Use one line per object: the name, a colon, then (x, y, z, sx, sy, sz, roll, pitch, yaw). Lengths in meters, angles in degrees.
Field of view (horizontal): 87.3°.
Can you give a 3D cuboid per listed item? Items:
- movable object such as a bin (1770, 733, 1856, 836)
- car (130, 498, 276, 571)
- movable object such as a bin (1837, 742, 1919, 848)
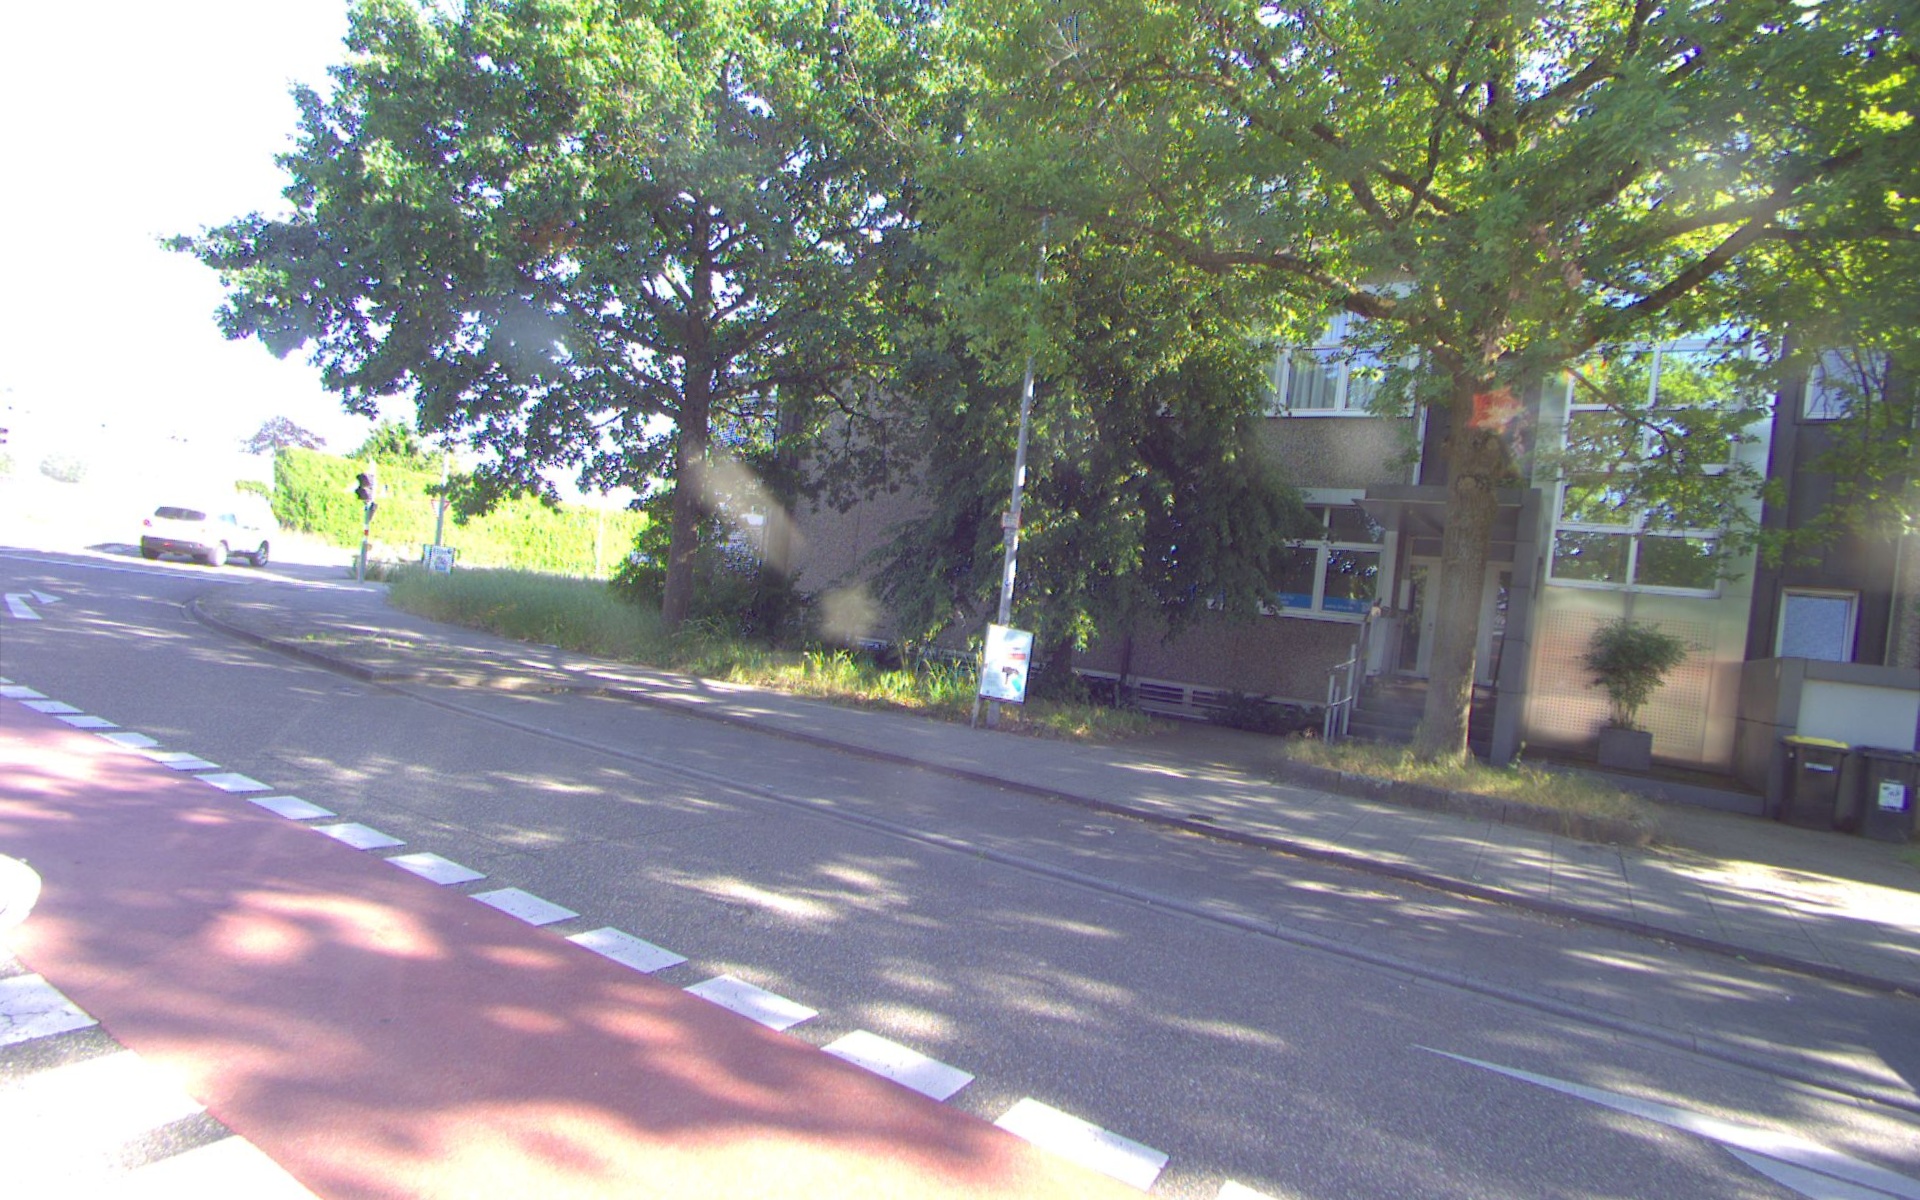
movable object such as a bin: (10.170, 2.181, 12.014, 0.575, 1.070, 0.625, 7, 0, 30)
car: (-21.095, -1.781, 28.237, 1.697, 1.627, 4.053, 9, 0, -15)
movable object such as a bin: (10.759, 2.249, 11.721, 0.605, 1.075, 0.634, 6, 0, 30)
